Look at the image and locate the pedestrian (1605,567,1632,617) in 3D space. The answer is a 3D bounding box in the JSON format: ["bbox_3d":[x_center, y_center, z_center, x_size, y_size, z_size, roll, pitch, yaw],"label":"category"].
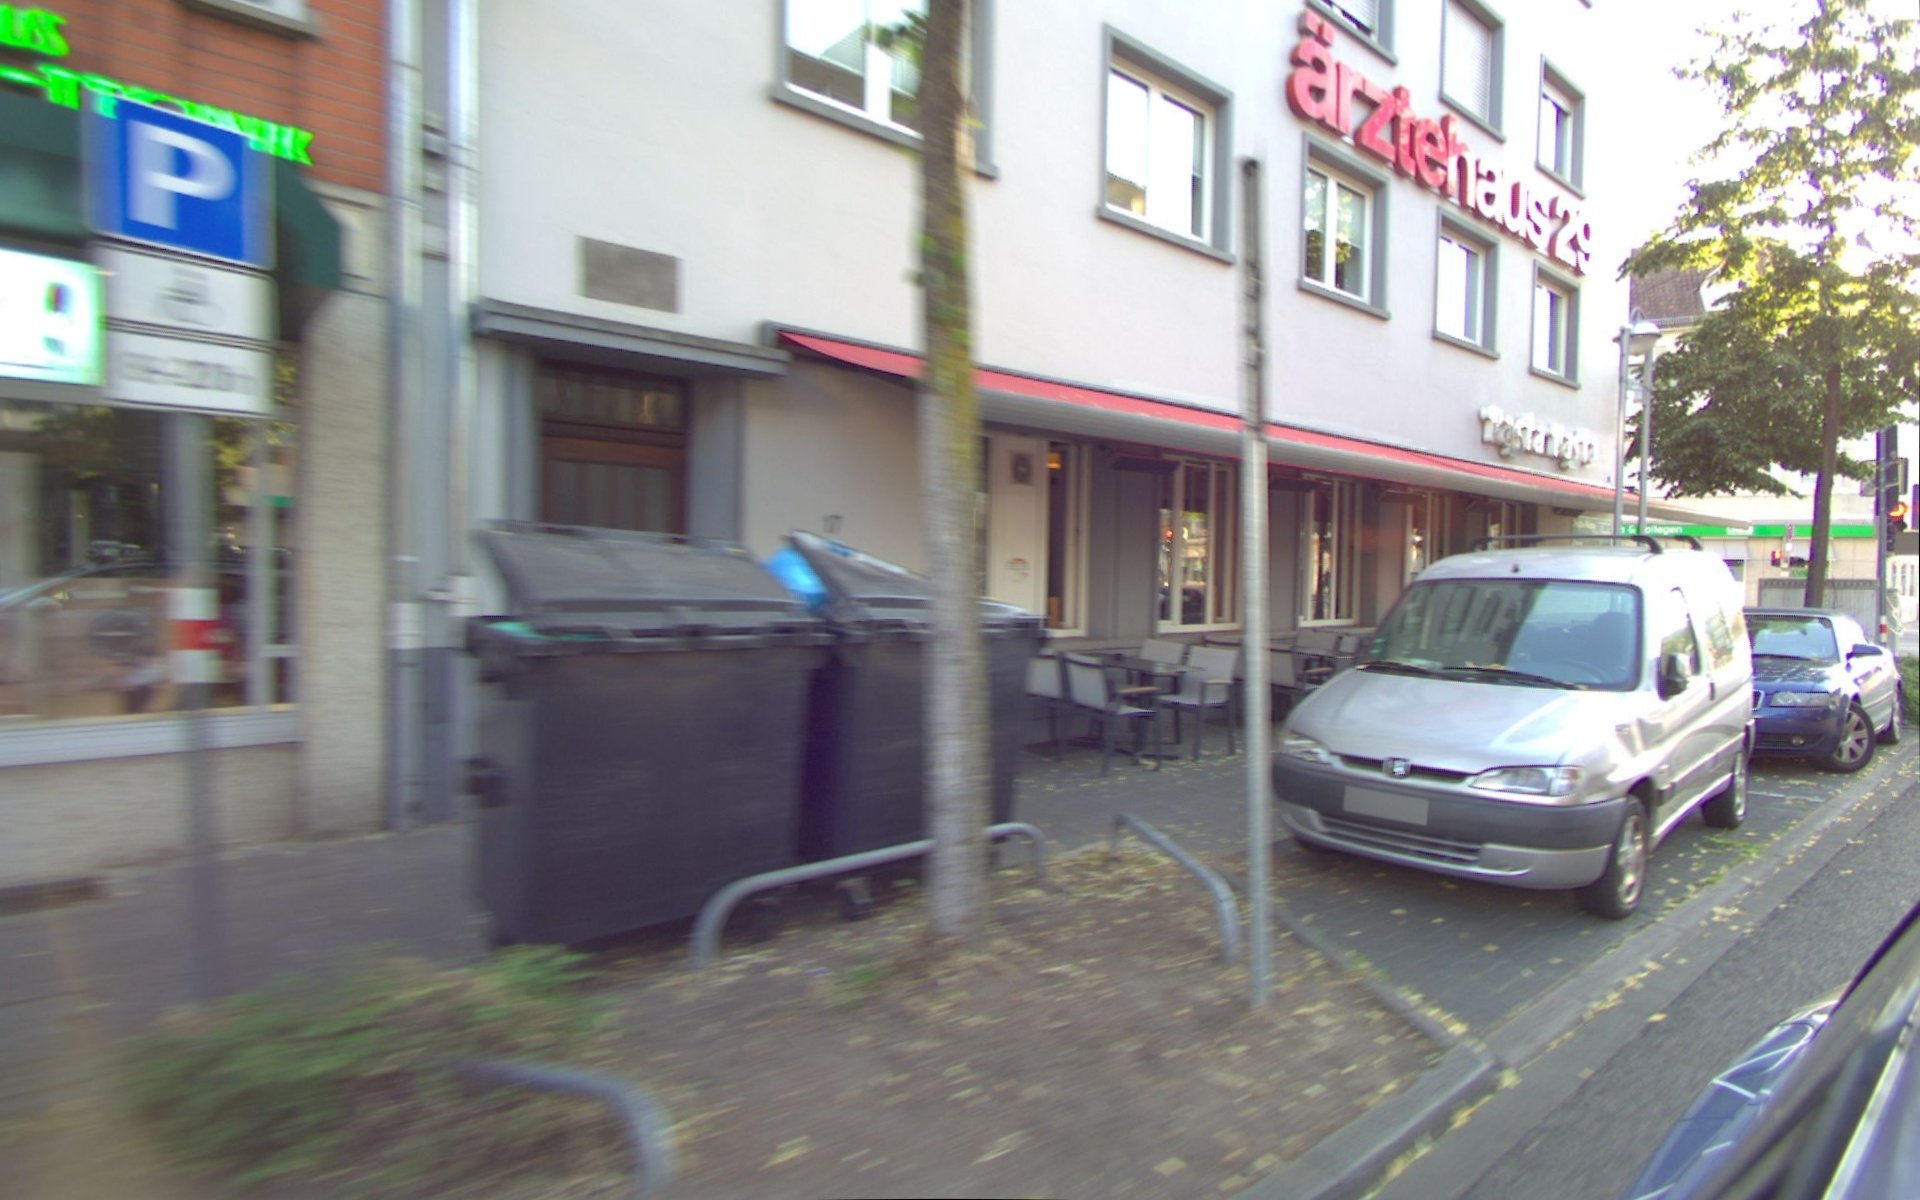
[{"bbox_3d":[24.526,-0.298,37.716,0.775,1.835,0.894,0,1,38],"label":"pedestrian"}]

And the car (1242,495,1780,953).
[{"bbox_3d":[3.439,0.463,5.952,3.945,1.801,1.656,0,1,-44],"label":"car"}]

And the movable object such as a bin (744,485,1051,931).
[{"bbox_3d":[-0.276,0.417,4.786,1.186,1.796,0.835,-2,1,-44],"label":"movable object such as a bin"}]

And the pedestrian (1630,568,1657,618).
[{"bbox_3d":[25.010,-0.257,37.013,0.775,1.793,0.894,0,1,38],"label":"pedestrian"}]

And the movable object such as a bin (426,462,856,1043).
[{"bbox_3d":[-1.188,0.450,3.887,1.331,1.796,0.835,-2,1,-44],"label":"movable object such as a bin"}]

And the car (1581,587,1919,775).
[{"bbox_3d":[7.765,0.600,9.765,4.111,1.394,1.939,-1,0,-42],"label":"car"}]

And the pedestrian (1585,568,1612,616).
[{"bbox_3d":[24.062,-0.301,38.159,0.672,1.793,0.628,0,1,10],"label":"pedestrian"}]
